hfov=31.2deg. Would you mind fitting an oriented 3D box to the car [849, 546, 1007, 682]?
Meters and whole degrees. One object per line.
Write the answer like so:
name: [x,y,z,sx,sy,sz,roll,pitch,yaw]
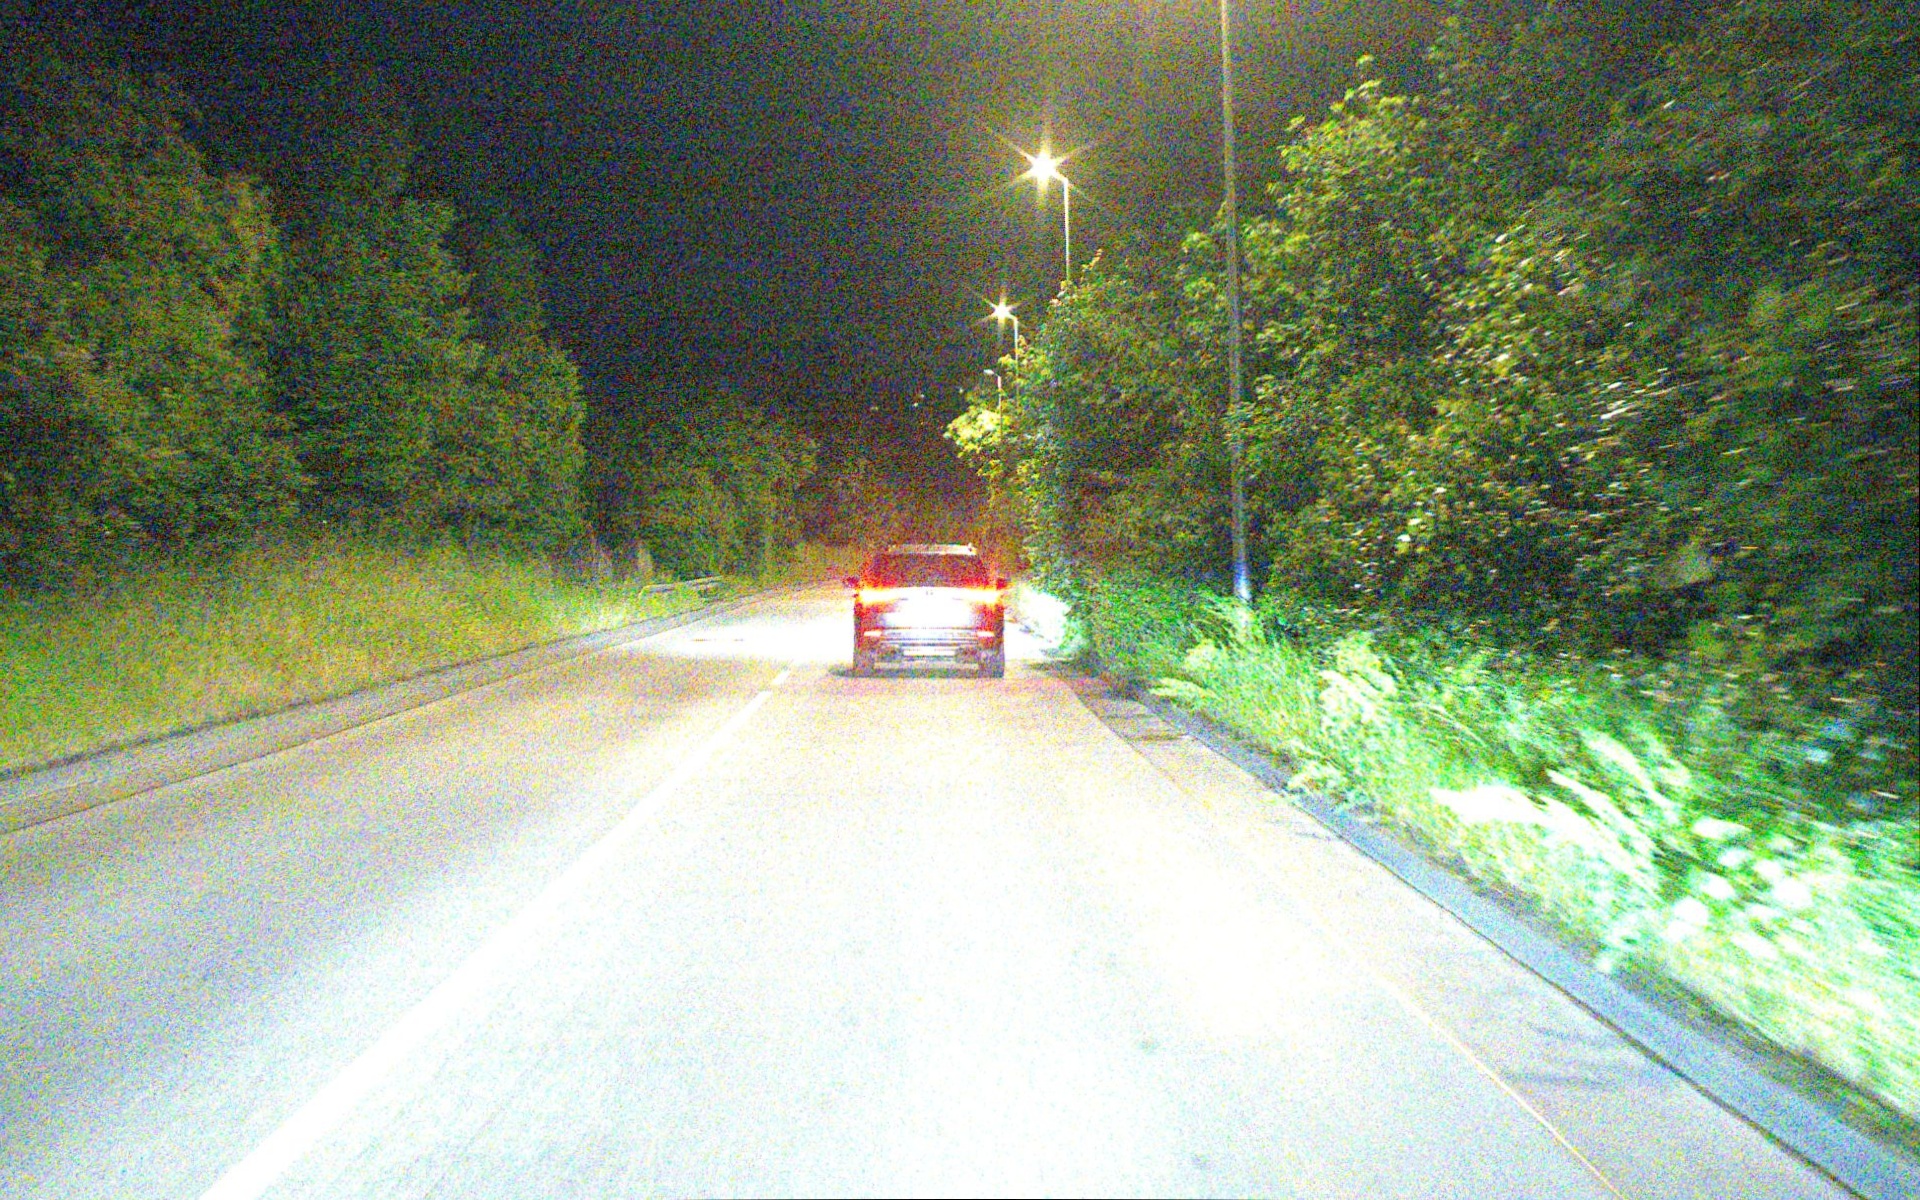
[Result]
car: [-0.421,0.131,41.832,1.814,1.568,3.944,0,1,-1]
